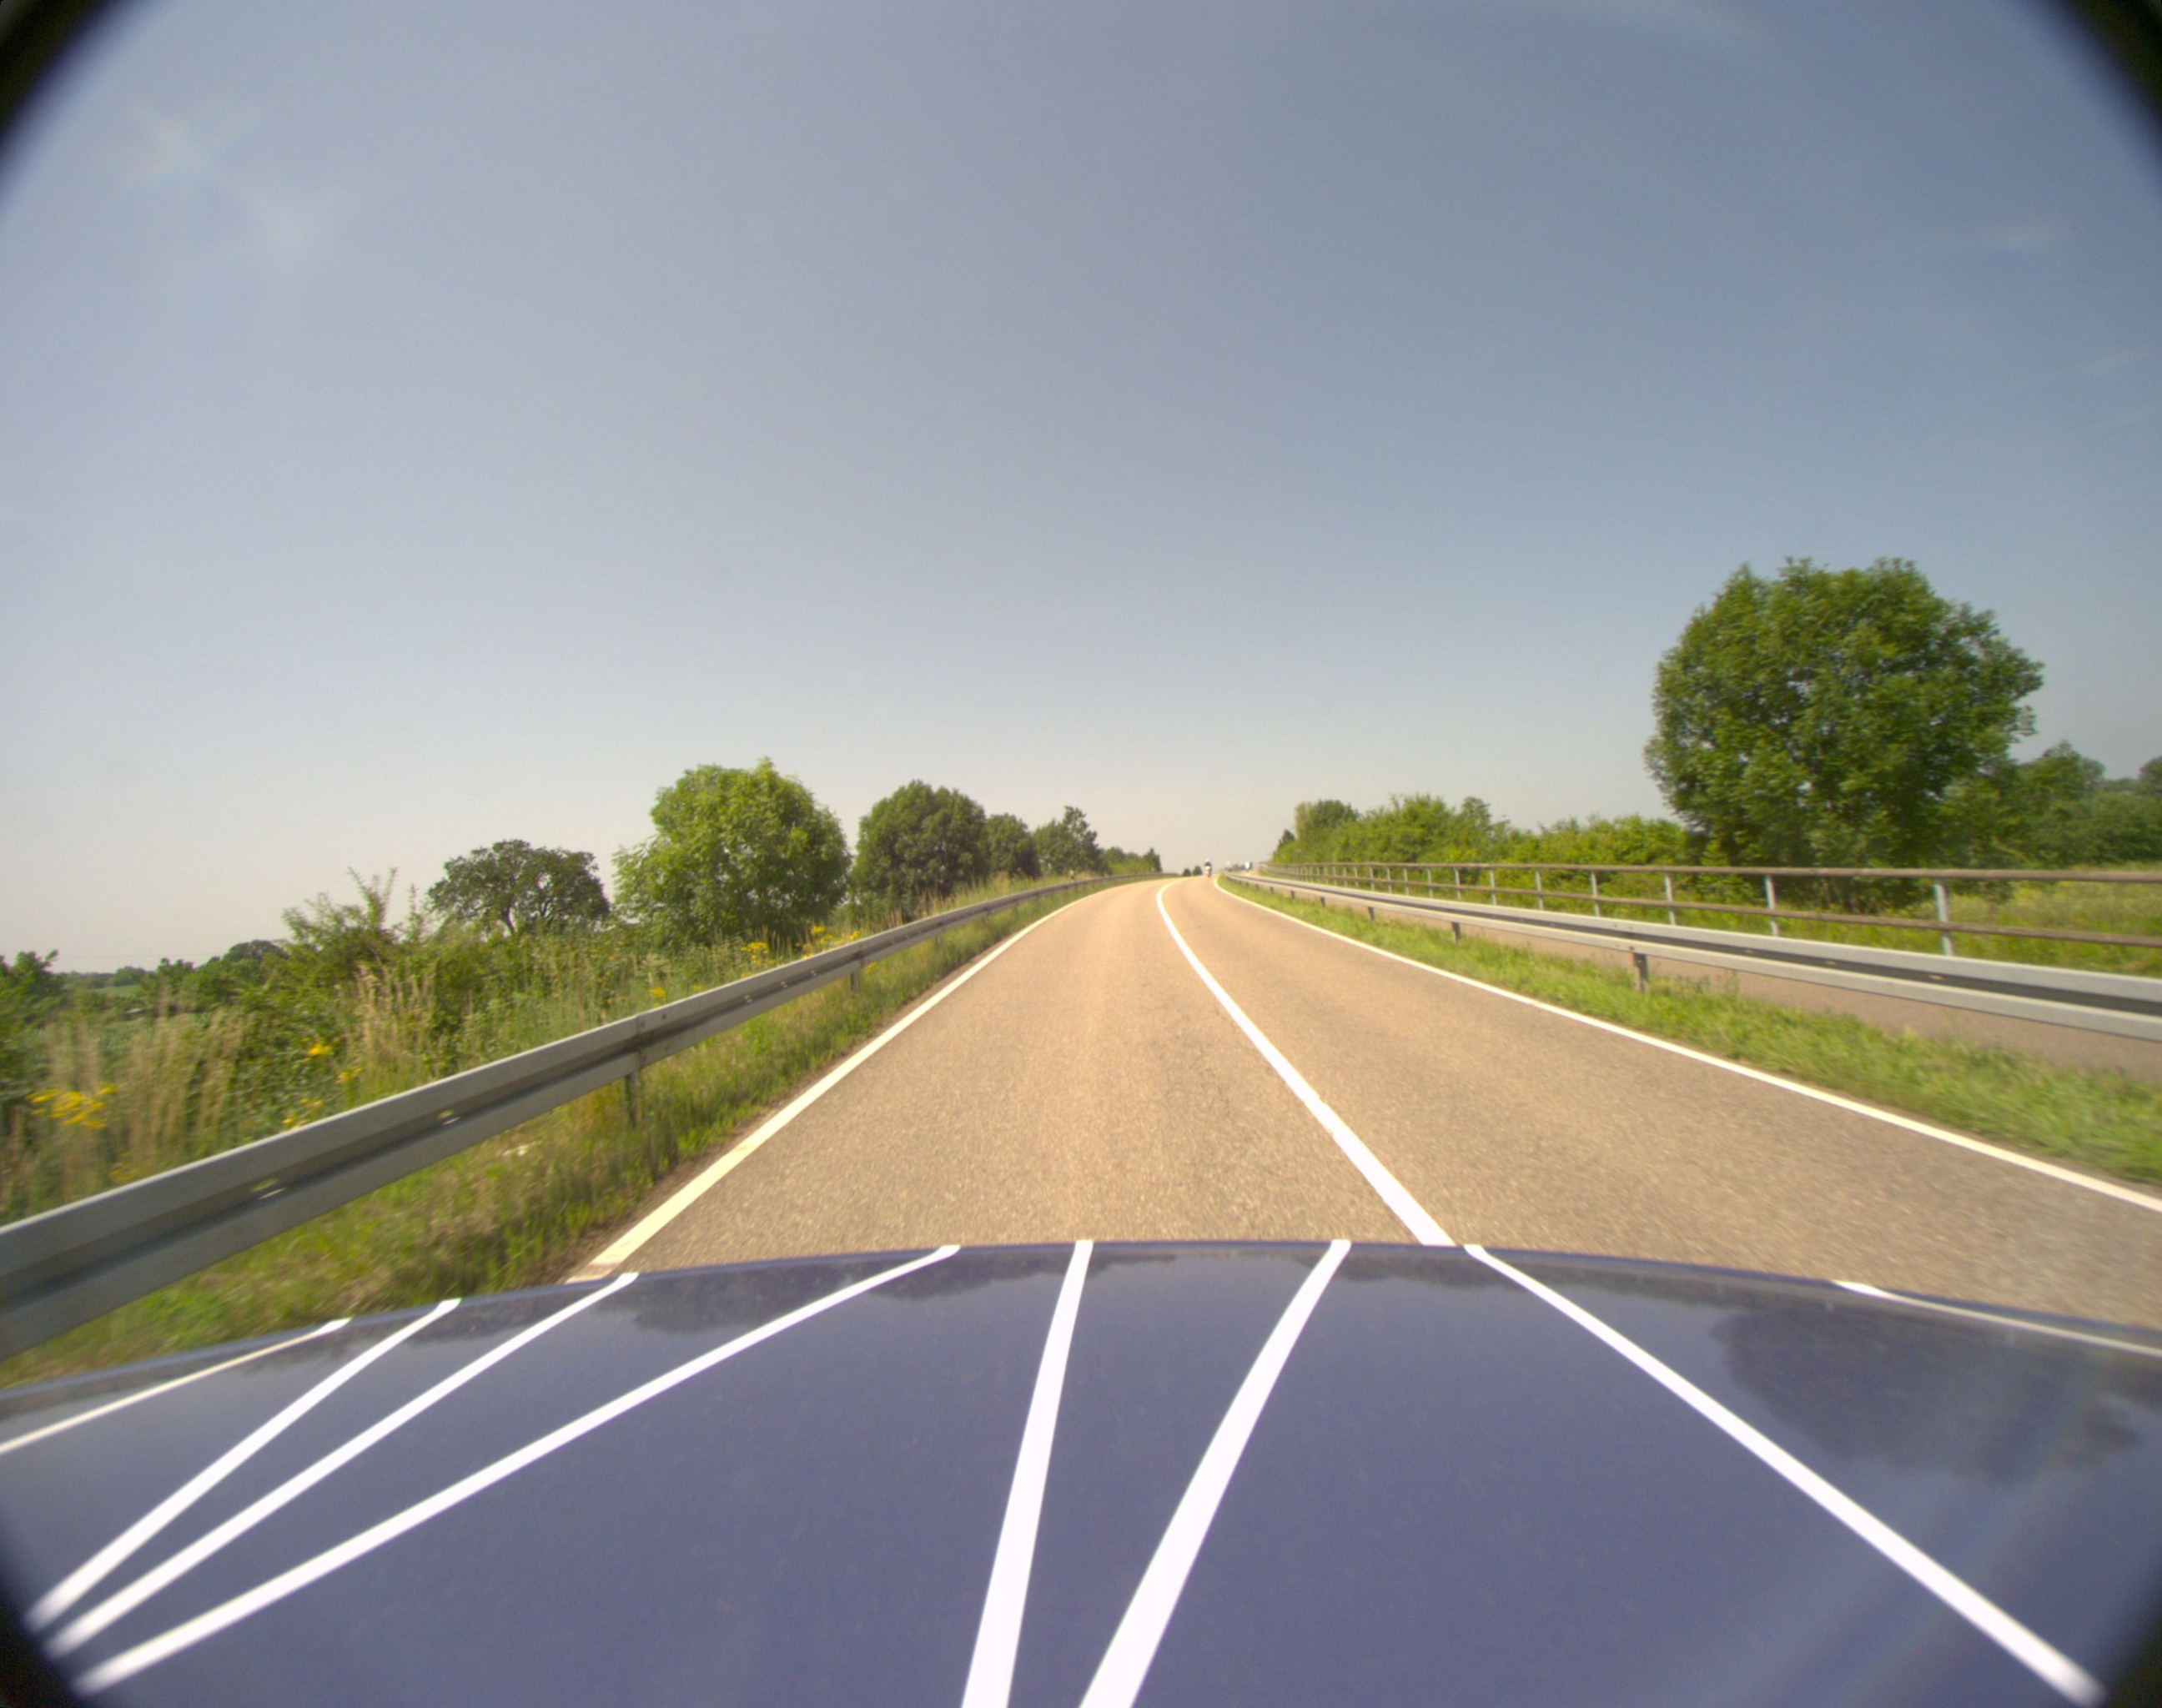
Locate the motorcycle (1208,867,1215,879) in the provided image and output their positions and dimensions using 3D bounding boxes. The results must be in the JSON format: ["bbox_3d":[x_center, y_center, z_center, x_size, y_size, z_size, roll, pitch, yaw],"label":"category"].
[{"bbox_3d":[12.833,1.848,74.733,0.644,1.216,1.640,-2,-1,9],"label":"motorcycle"}]

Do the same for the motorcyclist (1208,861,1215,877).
[{"bbox_3d":[12.808,1.490,74.722,0.655,1.553,0.776,-2,-1,9],"label":"motorcyclist"}]
